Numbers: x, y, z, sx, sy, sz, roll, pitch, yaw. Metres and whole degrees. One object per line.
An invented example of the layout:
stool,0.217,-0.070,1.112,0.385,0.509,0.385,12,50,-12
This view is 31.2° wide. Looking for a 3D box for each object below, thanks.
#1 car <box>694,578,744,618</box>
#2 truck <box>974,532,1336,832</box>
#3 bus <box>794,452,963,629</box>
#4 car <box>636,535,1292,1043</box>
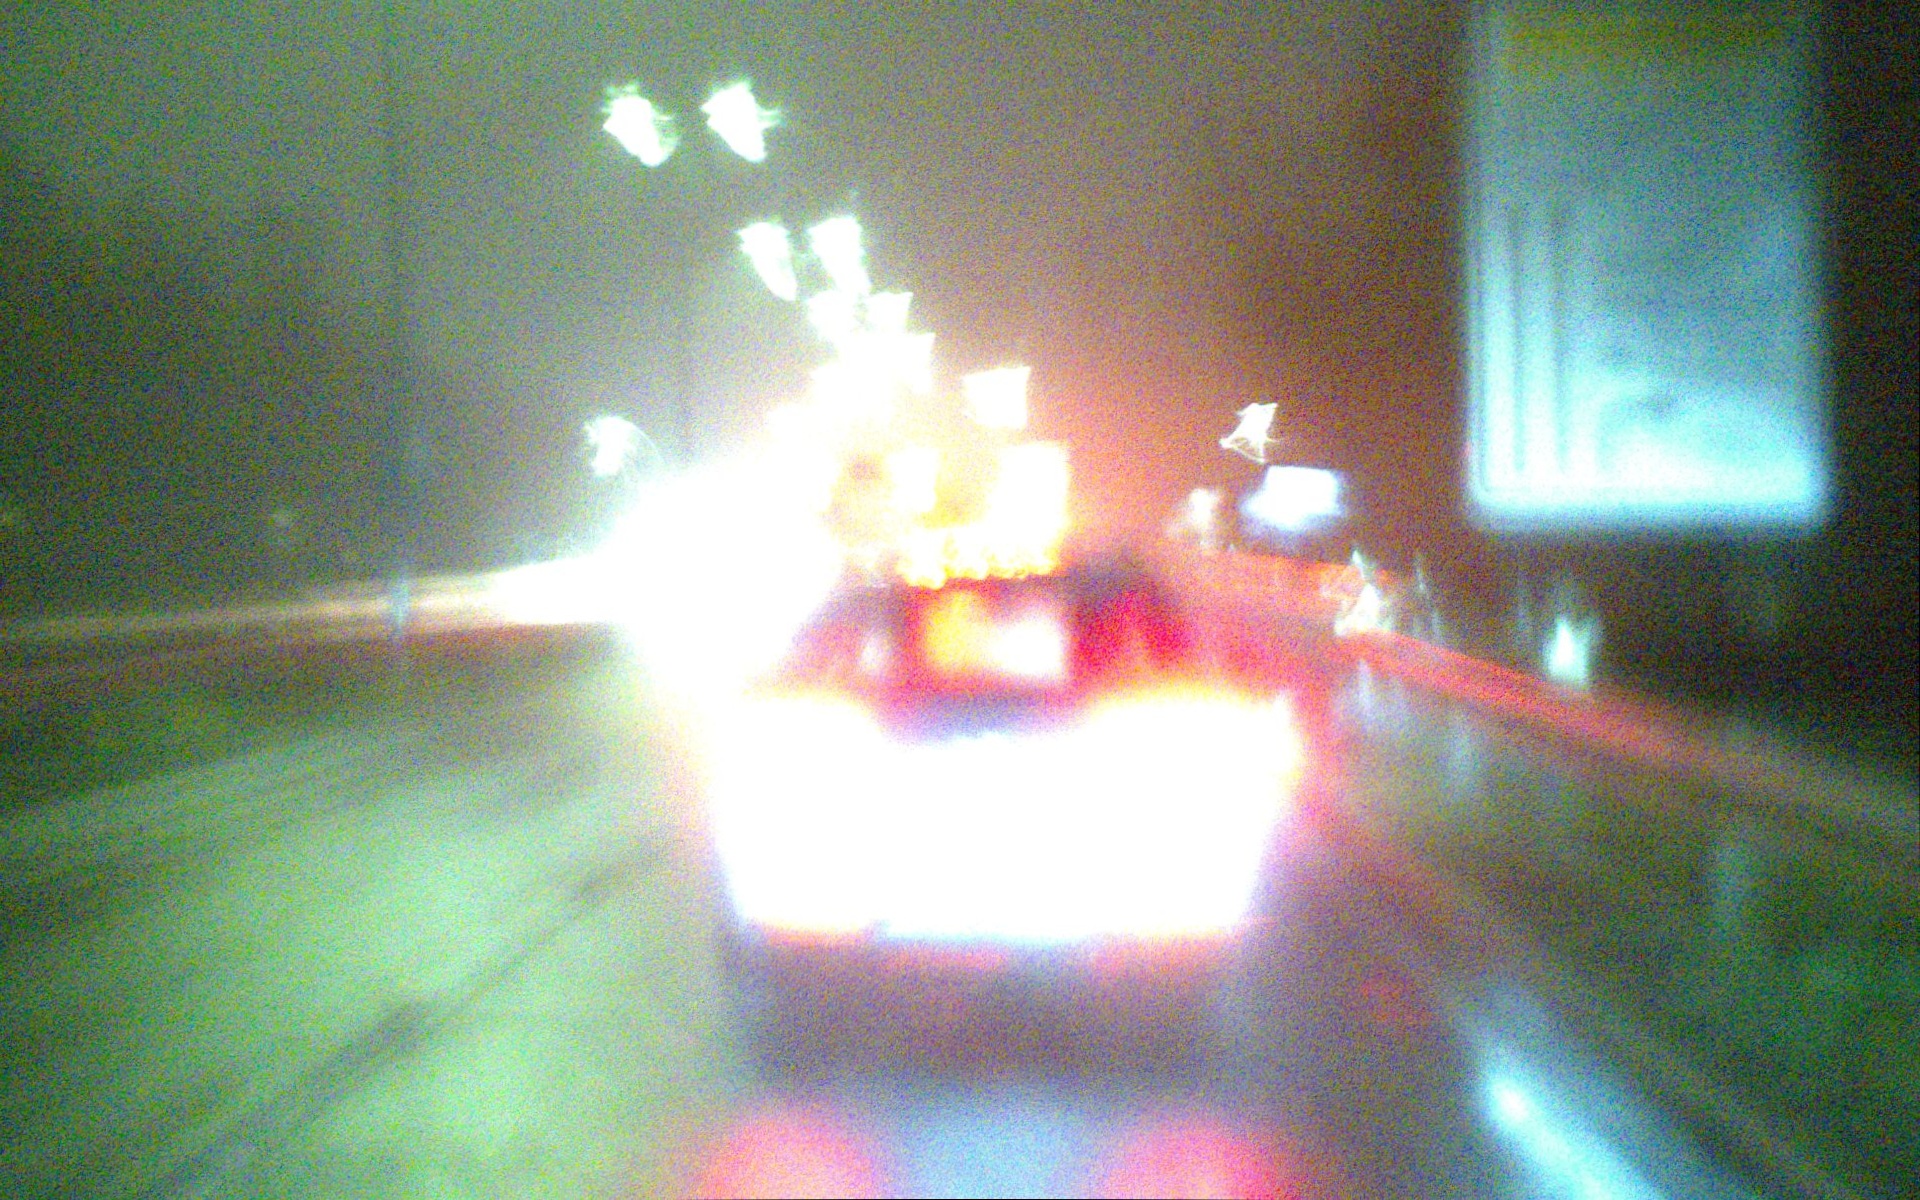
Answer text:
car,-9.931,-0.067,141.835,1.600,1.546,3.833,1,-1,2
truck,2.027,0.743,33.366,3.070,2.520,7.164,1,-1,6
bus,-1.453,-1.139,66.270,2.744,3.113,9.201,1,1,1
car,0.147,0.547,12.031,1.944,1.486,3.715,0,0,4
